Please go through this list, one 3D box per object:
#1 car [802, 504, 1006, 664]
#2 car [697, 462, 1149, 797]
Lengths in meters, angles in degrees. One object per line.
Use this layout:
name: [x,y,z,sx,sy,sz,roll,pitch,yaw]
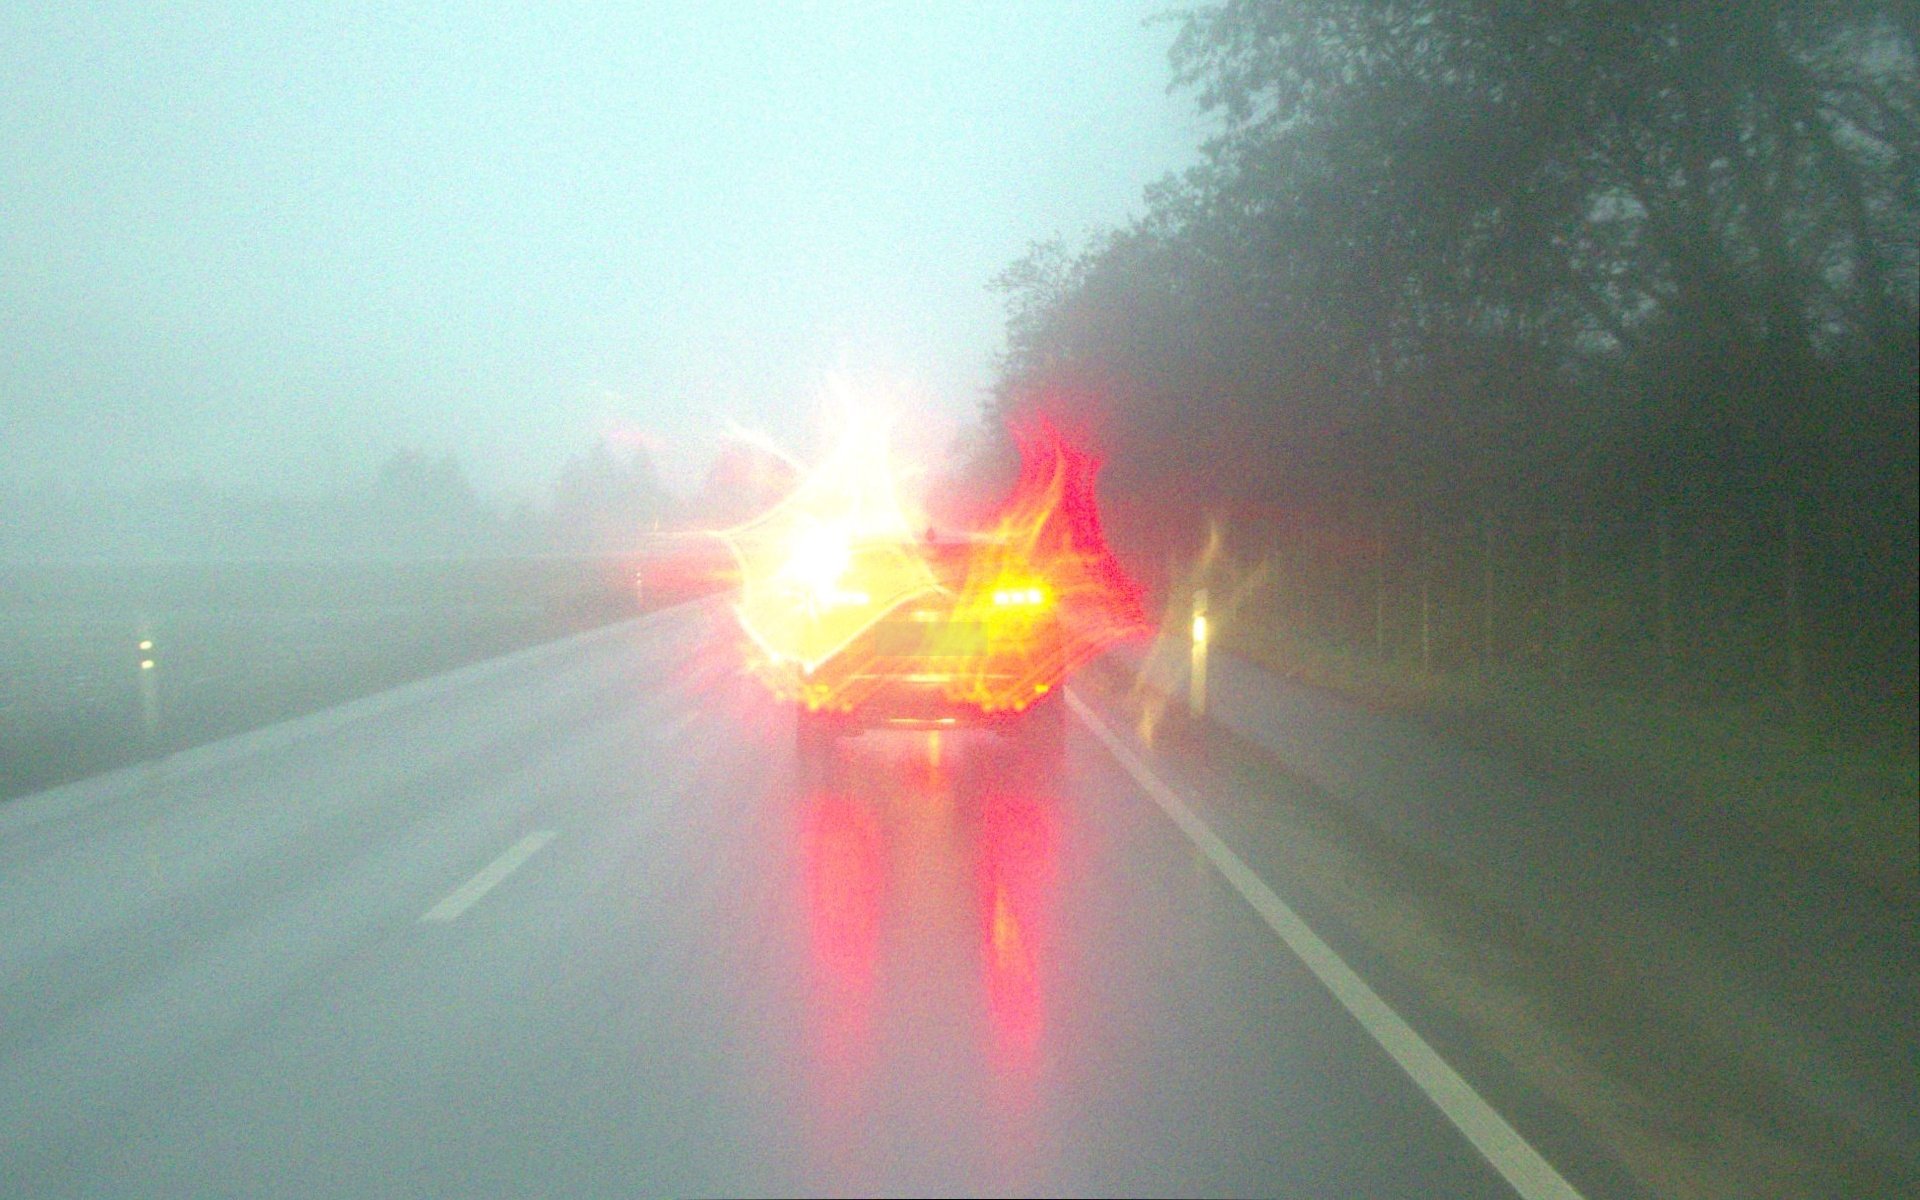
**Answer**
car: [-0.727,-0.249,47.231,2.592,2.007,5.804,1,1,0]
car: [-0.235,0.144,24.660,2.820,2.070,5.804,1,1,0]
